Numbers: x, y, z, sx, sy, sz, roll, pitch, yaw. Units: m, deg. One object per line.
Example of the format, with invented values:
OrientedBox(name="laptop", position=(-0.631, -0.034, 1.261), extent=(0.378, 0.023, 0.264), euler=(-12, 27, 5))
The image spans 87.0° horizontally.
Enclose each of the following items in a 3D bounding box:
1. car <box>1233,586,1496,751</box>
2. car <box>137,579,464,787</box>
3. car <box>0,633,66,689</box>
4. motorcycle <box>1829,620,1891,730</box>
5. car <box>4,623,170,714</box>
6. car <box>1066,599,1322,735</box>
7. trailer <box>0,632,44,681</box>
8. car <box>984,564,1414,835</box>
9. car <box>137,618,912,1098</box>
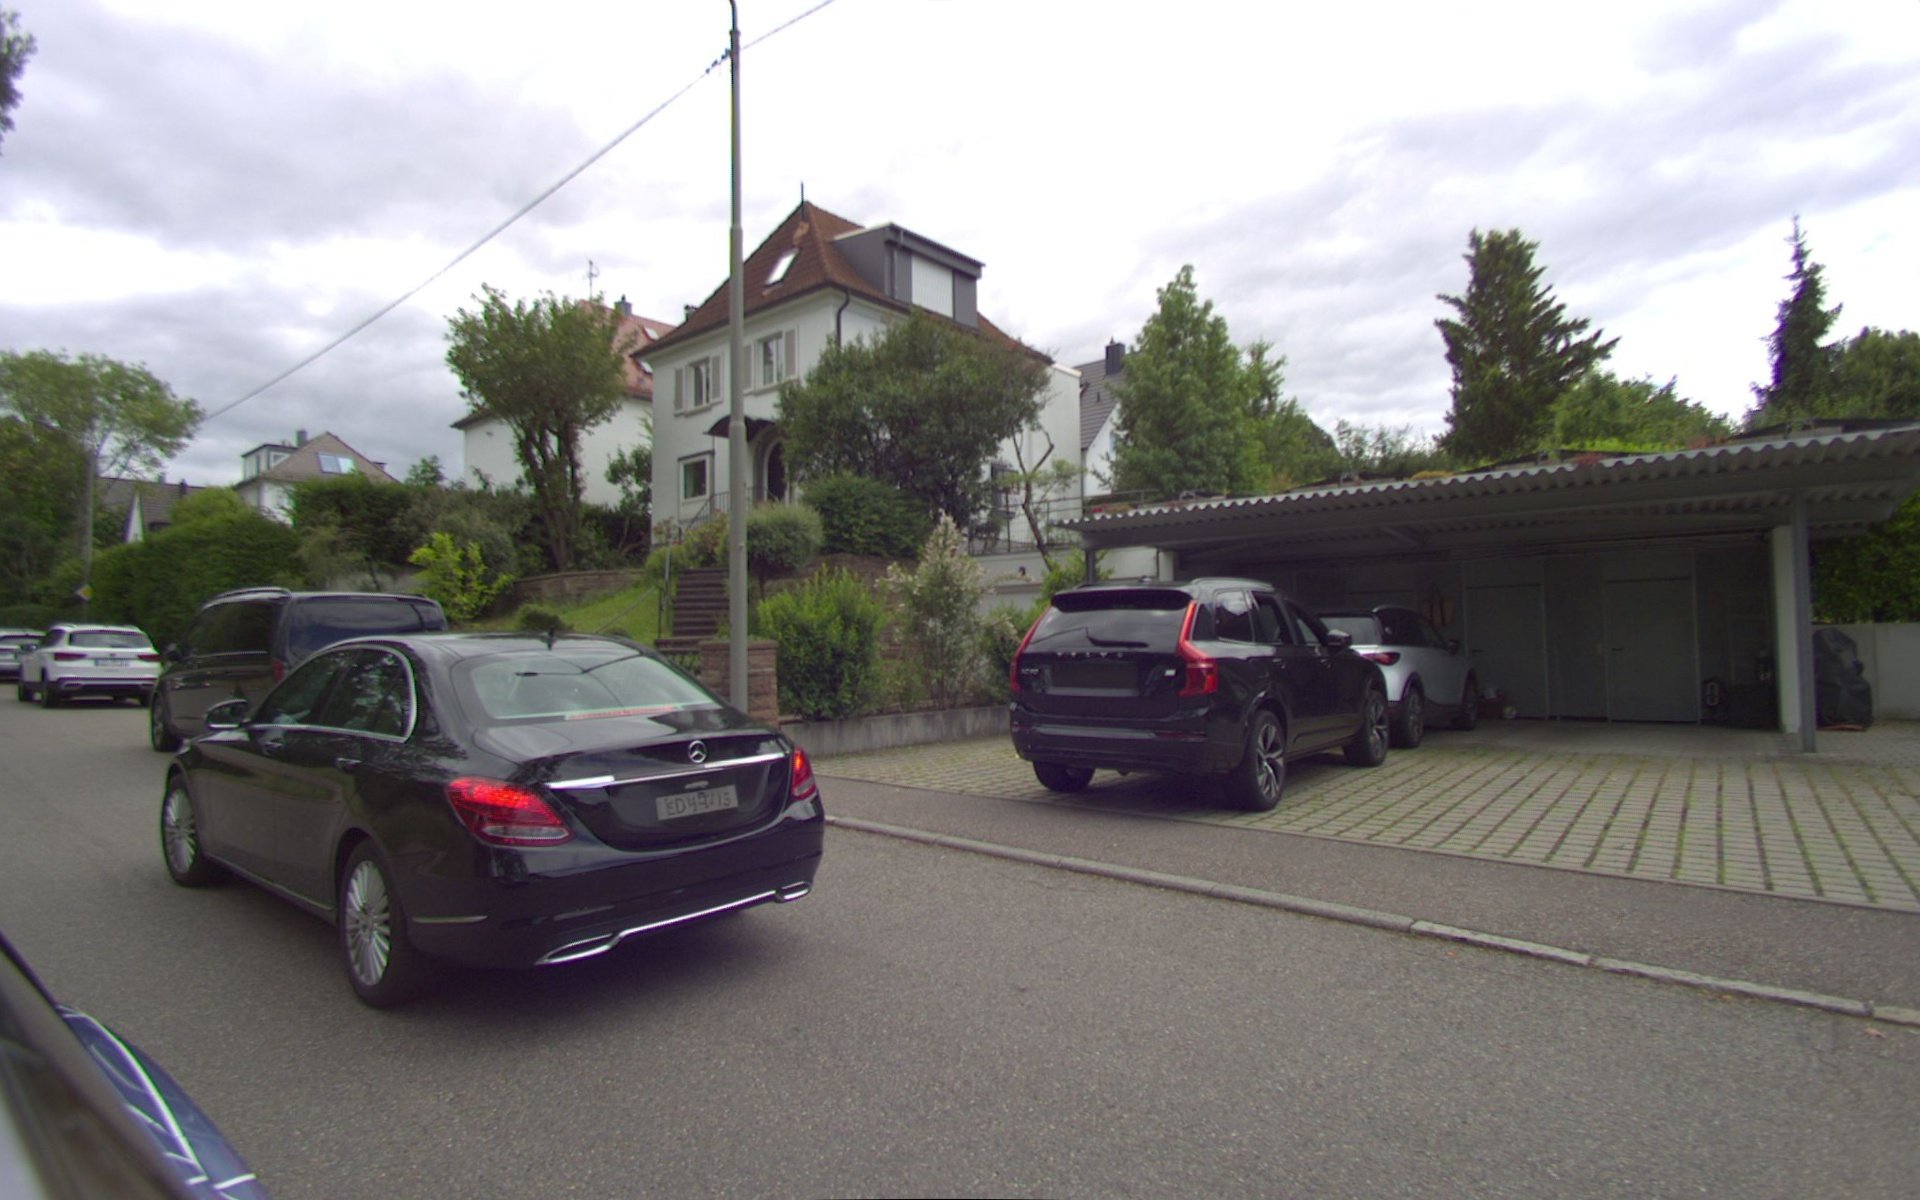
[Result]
OrientedBox(name="car", position=(5.204, 0.831, 12.708), extent=(1.997, 1.710, 4.083), euler=(-4, -4, 37))
OrientedBox(name="car", position=(-7.842, 0.835, 11.810), extent=(5.034, 1.941, 1.844), euler=(-2, -2, 40))
OrientedBox(name="car", position=(-27.298, 1.714, 29.080), extent=(4.471, 1.511, 1.745), euler=(-2, -5, 41))
OrientedBox(name="motorcycle", position=(11.440, 0.914, 12.879), extent=(0.531, 1.311, 1.465), euler=(-2, -2, 41))
OrientedBox(name="car", position=(-17.814, 1.353, 20.597), extent=(4.181, 1.661, 1.820), euler=(-1, -4, 40))
OrientedBox(name="car", position=(3.659, 0.970, 15.182), extent=(1.997, 1.710, 4.573), euler=(-4, -4, 37))
OrientedBox(name="trailer", position=(-31.196, 1.785, 32.788), extent=(4.472, 1.507, 1.744), euler=(-2, -4, 42))
OrientedBox(name="car", position=(2.341, 0.718, 8.846), extent=(1.997, 1.710, 4.573), euler=(-2, -3, 37))
OrientedBox(name="car", position=(-2.547, 0.831, 5.235), extent=(4.589, 1.425, 1.844), euler=(-2, -2, 40))
